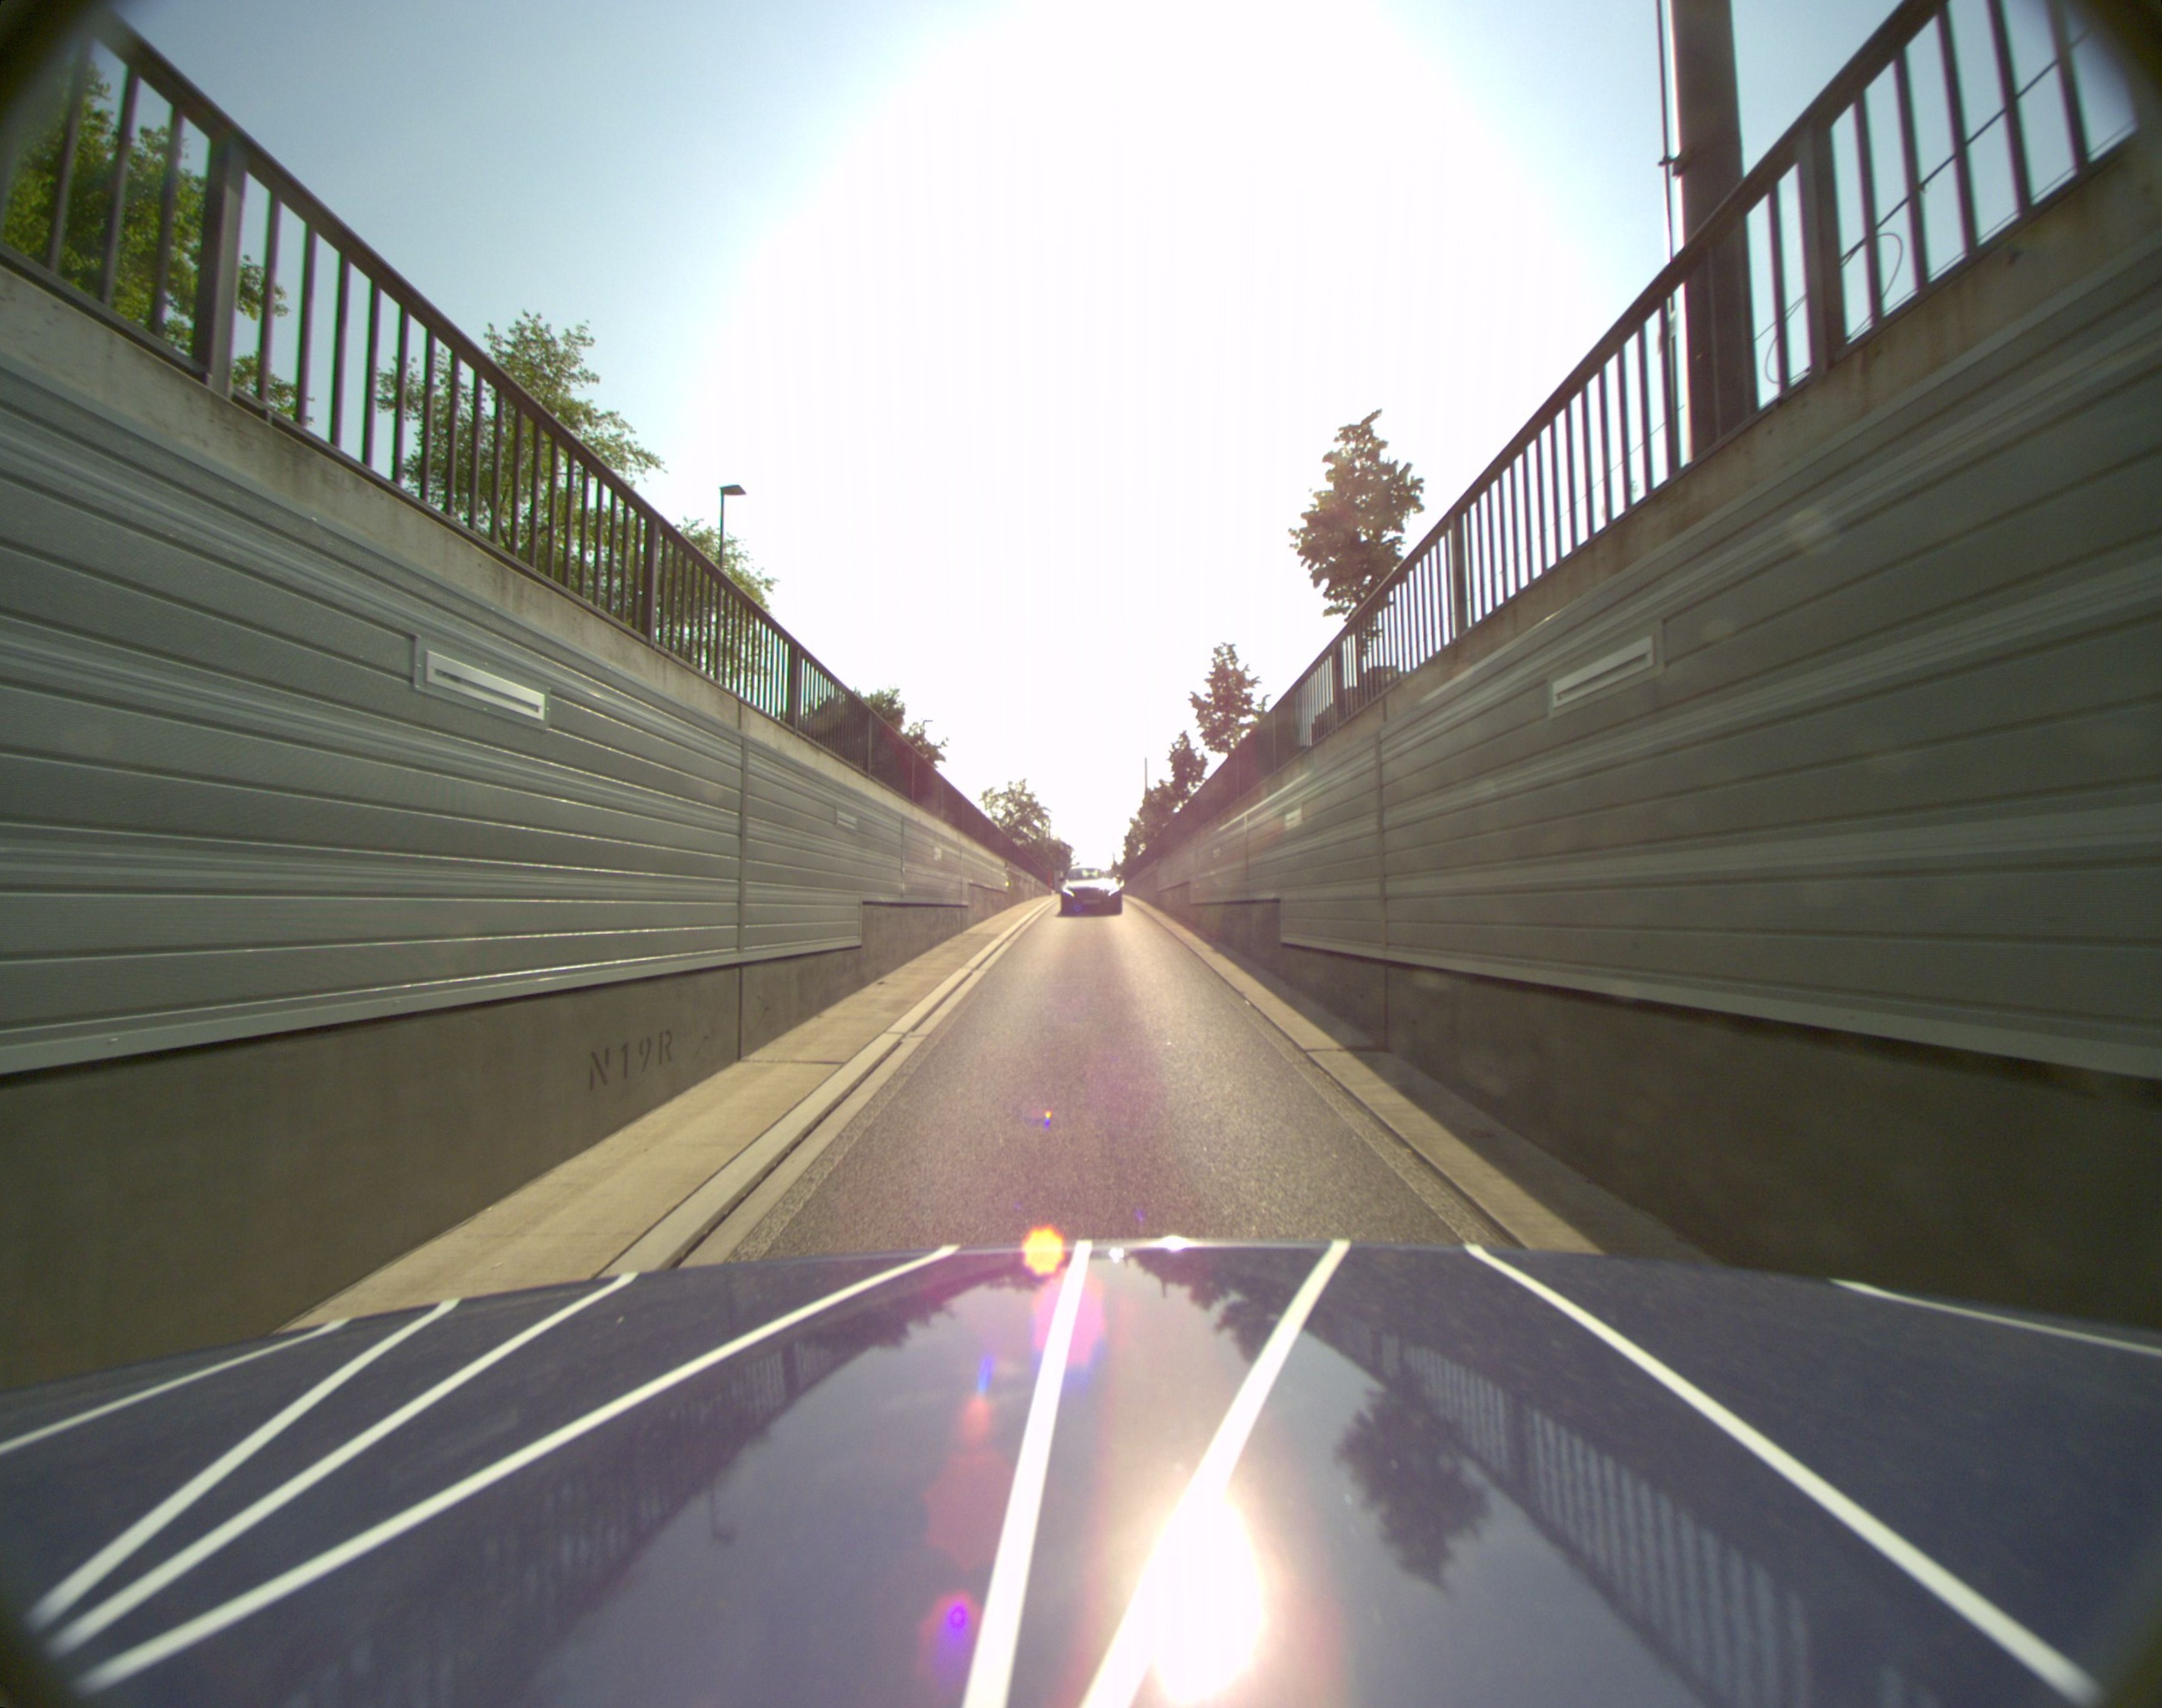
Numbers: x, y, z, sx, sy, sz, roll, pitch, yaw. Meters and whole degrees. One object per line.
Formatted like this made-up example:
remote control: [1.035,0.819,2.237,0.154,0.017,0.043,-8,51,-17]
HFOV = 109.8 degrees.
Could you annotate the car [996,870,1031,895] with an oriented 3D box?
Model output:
car: [-4.733,2.060,53.776,1.897,1.560,4.254,-2,-4,2]

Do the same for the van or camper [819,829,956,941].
van or camper: [-4.901,0.883,20.310,1.991,2.456,6.065,-3,-3,0]

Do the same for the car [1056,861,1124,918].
car: [0.342,1.088,22.576,1.759,1.436,4.621,-3,-3,2]
